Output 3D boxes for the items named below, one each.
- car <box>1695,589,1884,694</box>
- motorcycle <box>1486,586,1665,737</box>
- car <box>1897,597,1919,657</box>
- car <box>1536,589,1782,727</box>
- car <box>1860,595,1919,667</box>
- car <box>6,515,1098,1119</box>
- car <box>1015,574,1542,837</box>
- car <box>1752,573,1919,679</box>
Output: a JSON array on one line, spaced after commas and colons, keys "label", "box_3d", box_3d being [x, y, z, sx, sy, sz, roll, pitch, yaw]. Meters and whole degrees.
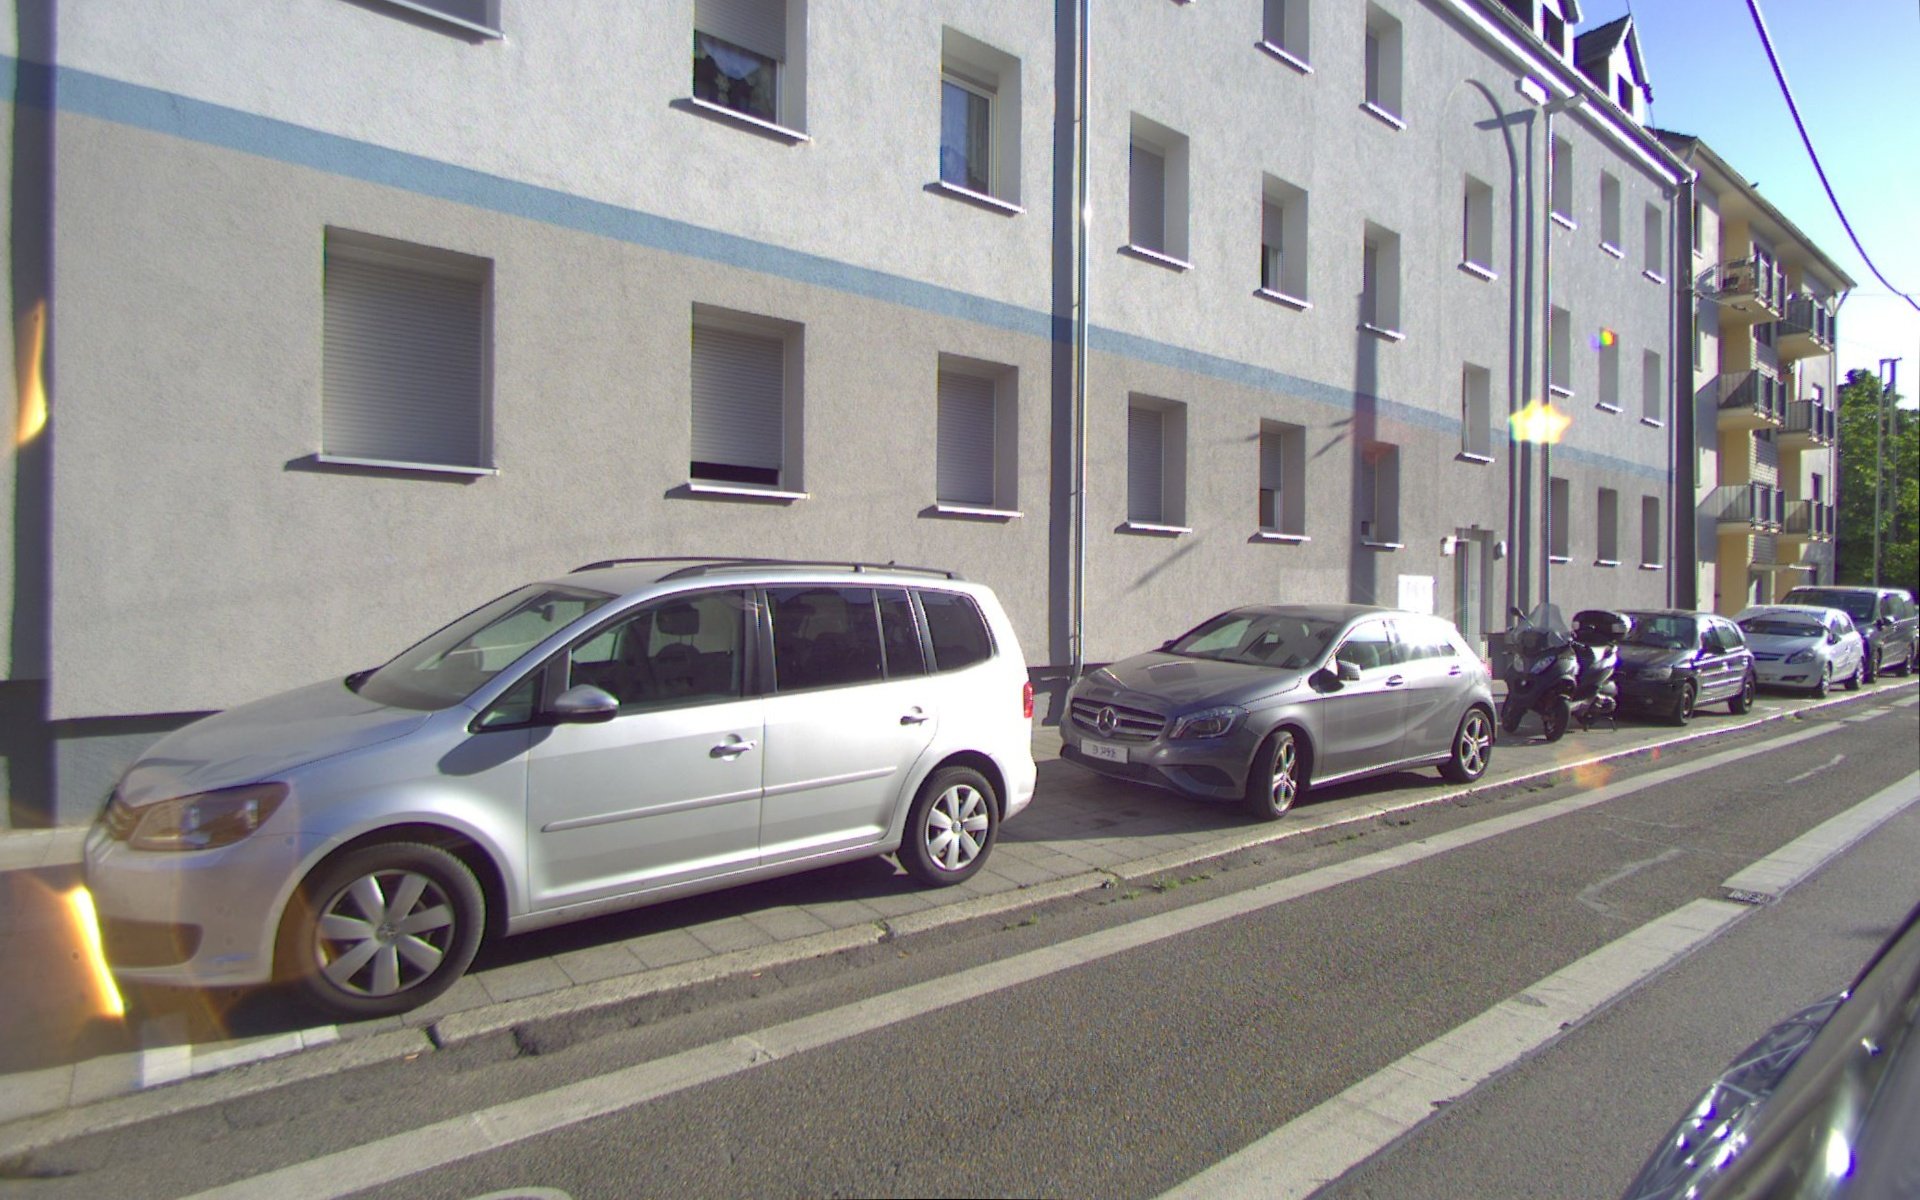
[{"label": "car", "box_3d": [14.599, 0.643, 17.751, 3.833, 1.590, 1.805, 0, 2, -39]}, {"label": "motorcycle", "box_3d": [7.072, 0.629, 11.554, 2.658, 1.540, 0.808, 0, 1, -37]}, {"label": "car", "box_3d": [26.685, 0.728, 27.261, 3.565, 1.561, 1.557, 0, 2, -38]}, {"label": "car", "box_3d": [9.624, 0.688, 13.845, 3.831, 1.590, 1.614, 0, 2, -37]}, {"label": "car", "box_3d": [23.193, 0.712, 24.319, 4.141, 1.590, 1.613, 0, 2, -38]}, {"label": "car", "box_3d": [-1.507, 0.570, 4.981, 4.545, 1.686, 1.758, 0, 2, -41]}, {"label": "car", "box_3d": [2.703, 0.628, 8.194, 4.284, 1.574, 1.870, 0, 2, -36]}, {"label": "car", "box_3d": [18.527, 0.465, 21.120, 4.911, 1.945, 1.935, 0, 2, -37]}]
